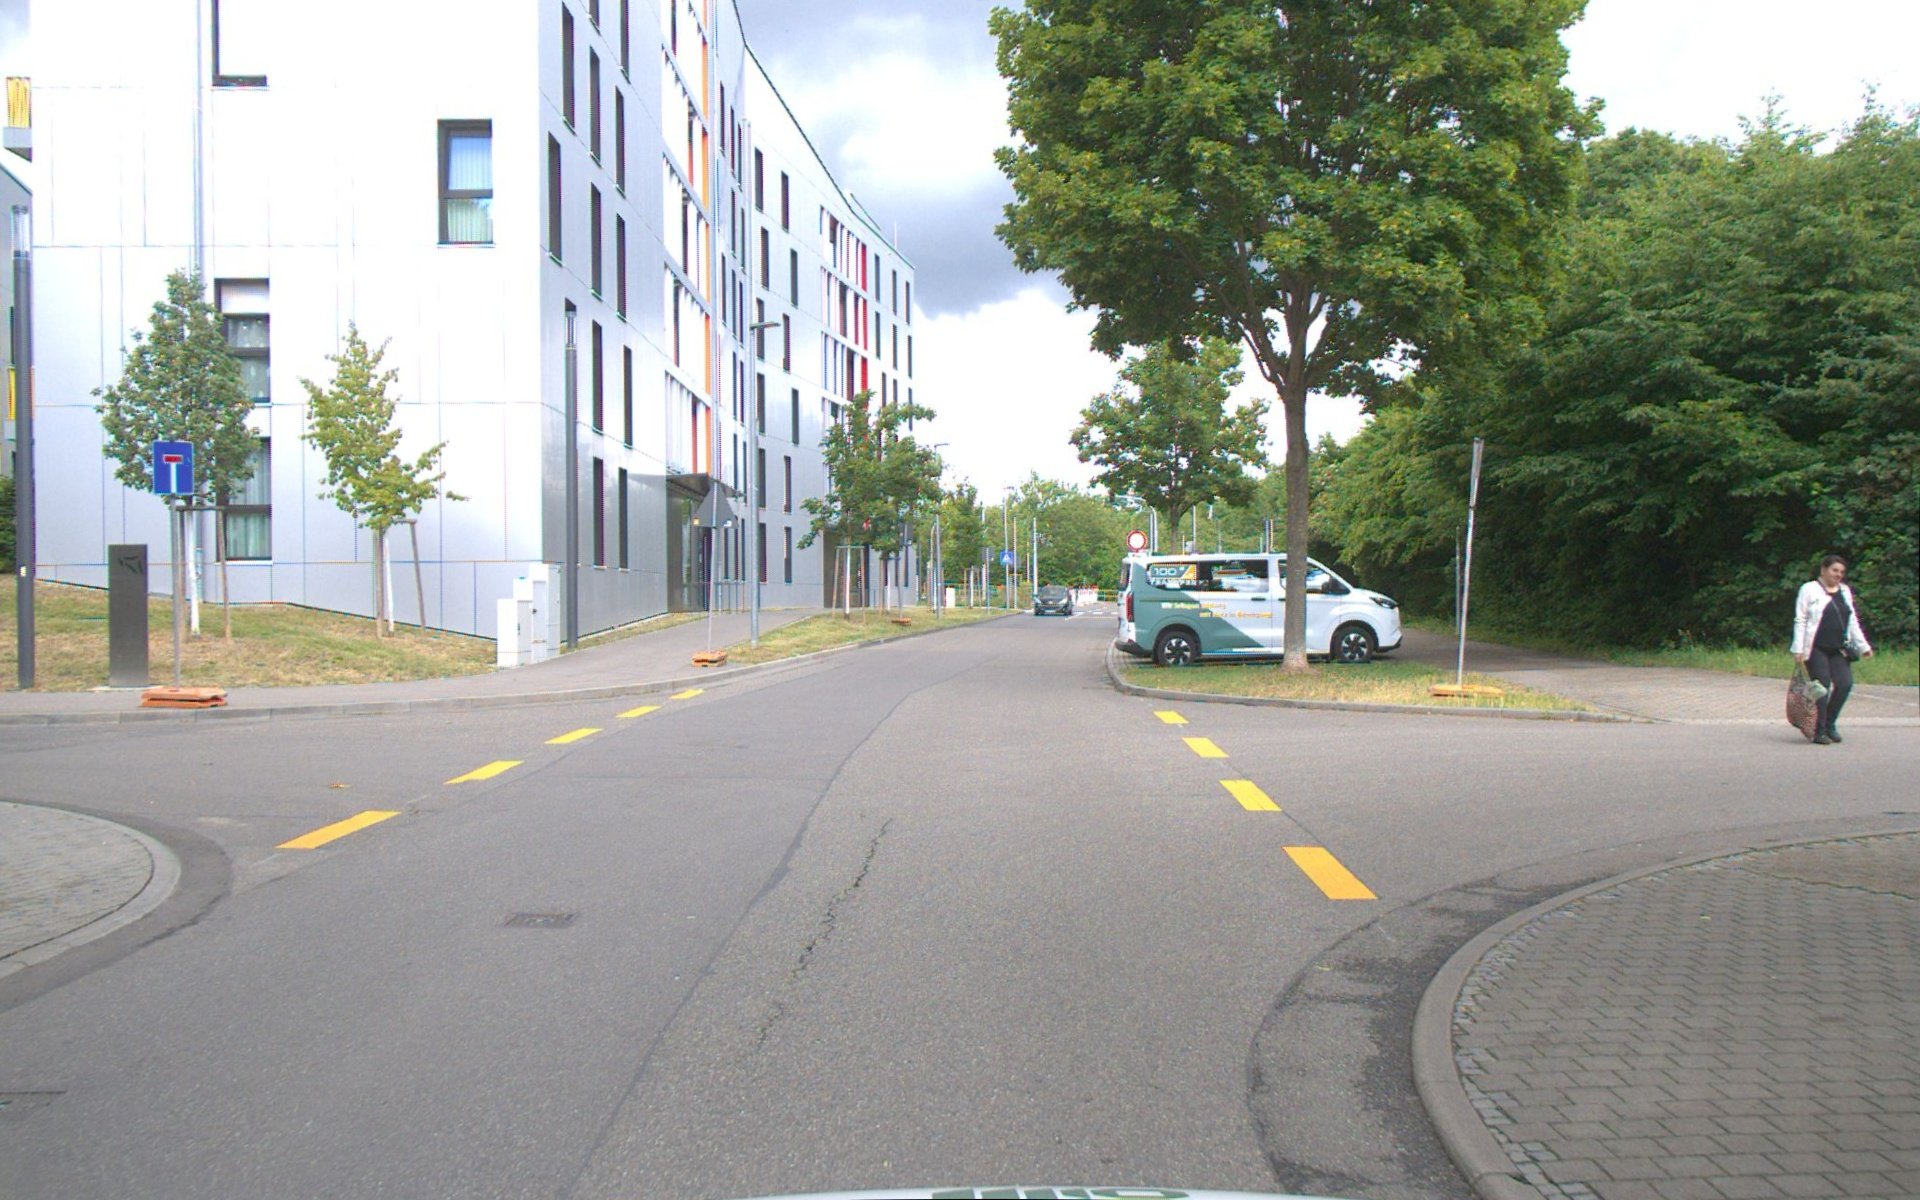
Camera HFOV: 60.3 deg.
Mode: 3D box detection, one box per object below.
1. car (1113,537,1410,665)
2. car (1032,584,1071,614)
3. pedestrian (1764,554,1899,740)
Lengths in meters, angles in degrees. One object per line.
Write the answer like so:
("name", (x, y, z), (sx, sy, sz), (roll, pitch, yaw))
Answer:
("car", (5.236, 0.014, 29.180), (4.870, 2.006, 1.847), (-2, 0, 1))
("car", (4.474, -0.045, 80.789), (1.575, 1.412, 4.003), (1, 0, 8))
("pedestrian", (7.743, 0.406, 14.727), (0.817, 1.604, 0.810), (0, 0, 6))
